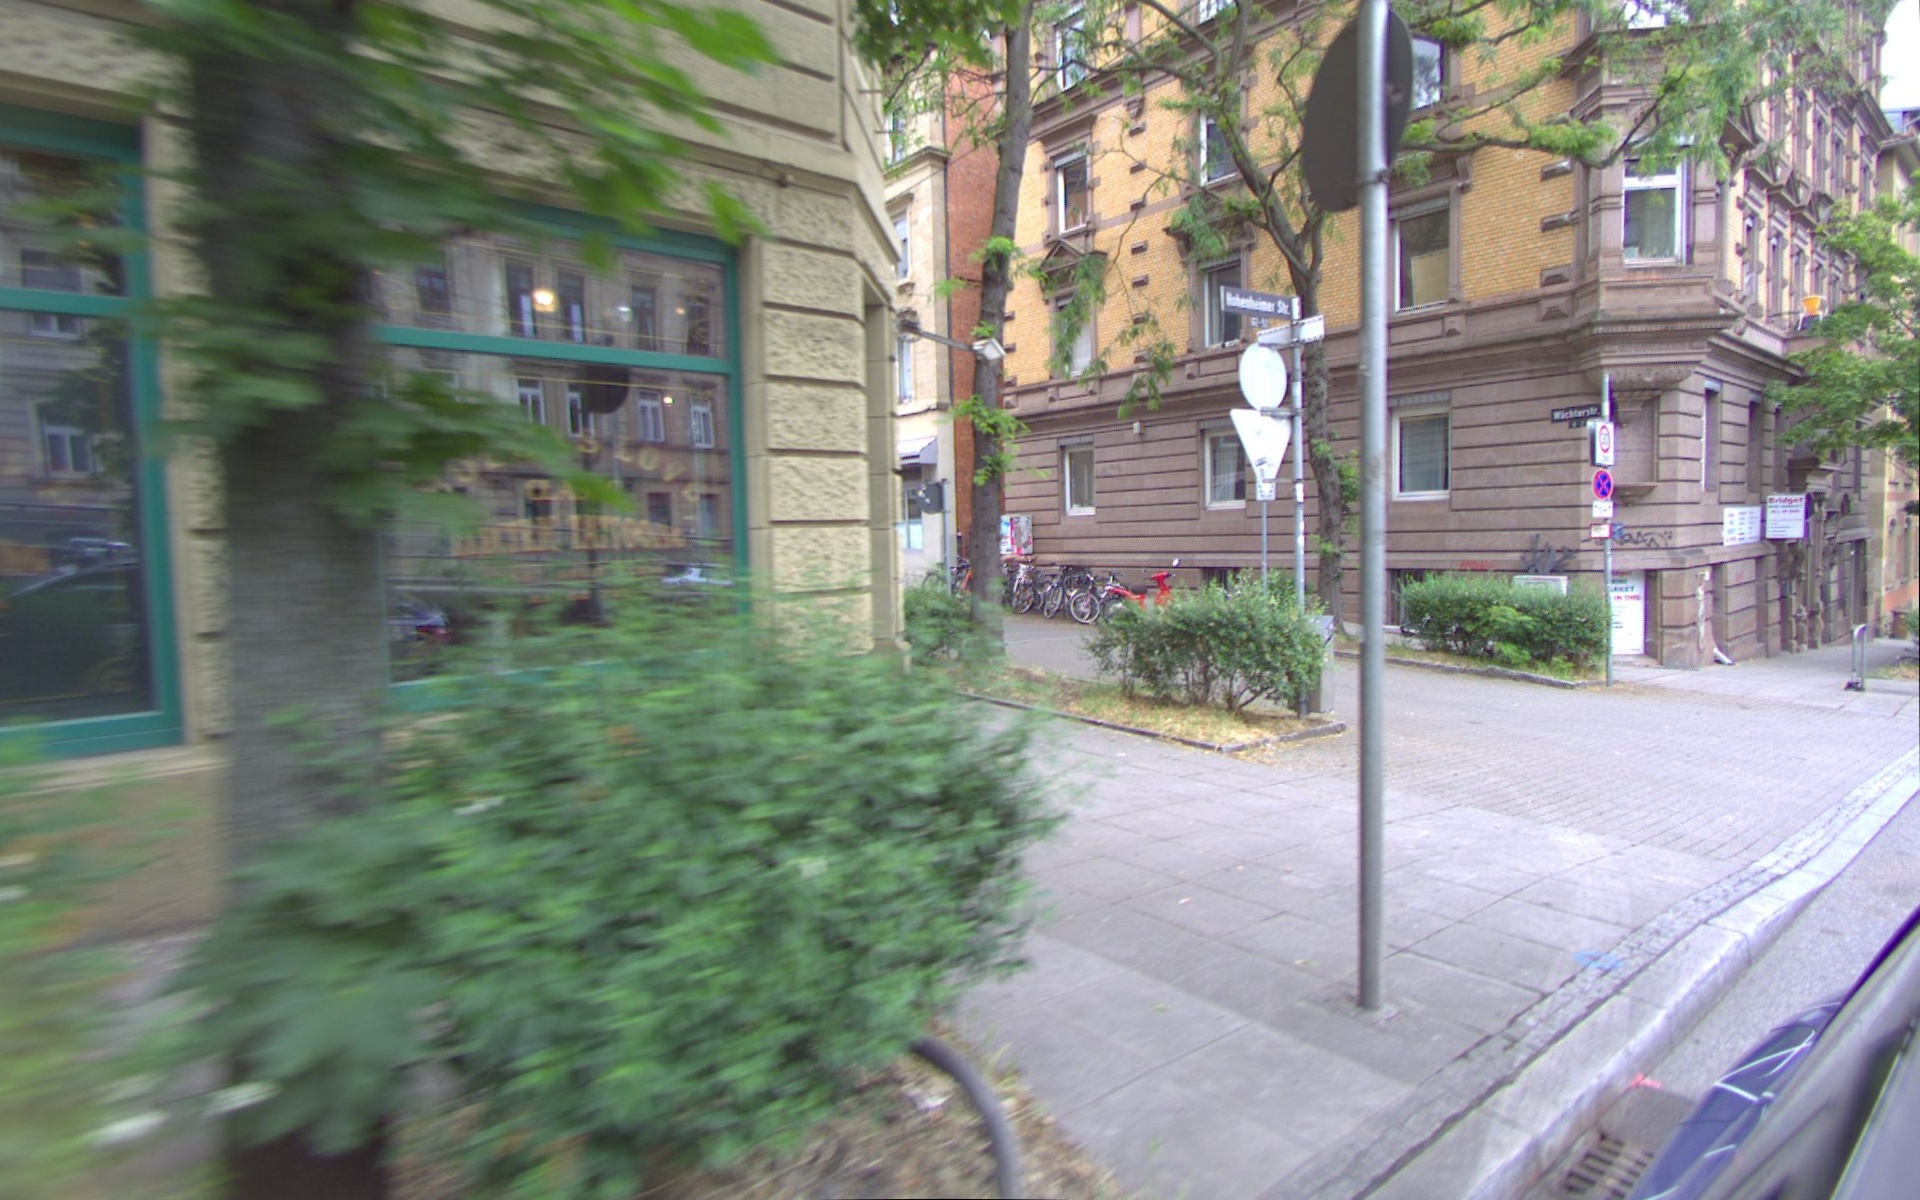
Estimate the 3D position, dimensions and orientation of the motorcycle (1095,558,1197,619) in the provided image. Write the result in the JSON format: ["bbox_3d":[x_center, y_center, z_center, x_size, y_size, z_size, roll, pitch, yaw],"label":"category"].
[{"bbox_3d":[3.571,-0.232,19.431,1.881,1.112,0.510,-1,5,-16],"label":"motorcycle"}]

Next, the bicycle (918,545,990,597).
[{"bbox_3d":[-0.124,-0.702,23.858,0.588,1.111,1.894,5,7,40],"label":"bicycle"}]

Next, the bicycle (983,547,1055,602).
[{"bbox_3d":[1.343,-0.599,22.716,0.591,1.111,1.895,5,7,39],"label":"bicycle"}]

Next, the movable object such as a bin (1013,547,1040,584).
[{"bbox_3d":[1.714,-0.887,25.946,0.428,0.896,0.562,3,9,38],"label":"movable object such as a bin"}]

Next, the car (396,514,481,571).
[{"bbox_3d":[-16.603,-1.865,32.161,1.647,1.596,3.434,-3,7,-40],"label":"car"}]

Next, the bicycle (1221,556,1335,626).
[{"bbox_3d":[5.435,-0.170,17.305,1.881,1.112,0.510,-1,5,-19],"label":"bicycle"}]

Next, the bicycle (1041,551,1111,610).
[{"bbox_3d":[2.476,-0.432,21.463,0.506,1.111,1.895,5,7,39],"label":"bicycle"}]

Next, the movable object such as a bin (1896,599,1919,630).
[{"bbox_3d":[29.958,0.456,31.813,0.529,0.954,0.673,0,2,-37],"label":"movable object such as a bin"}]

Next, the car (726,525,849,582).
[{"bbox_3d":[-5.070,-1.404,29.315,1.614,1.422,4.280,-3,7,-39],"label":"car"}]

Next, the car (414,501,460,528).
[{"bbox_3d":[-31.111,-5.103,60.177,1.614,1.527,3.870,-3,6,-39],"label":"car"}]

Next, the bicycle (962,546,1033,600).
[{"bbox_3d":[0.871,-0.631,23.099,0.563,1.111,1.895,5,7,39],"label":"bicycle"}]

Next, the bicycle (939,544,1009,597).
[{"bbox_3d":[0.344,-0.705,23.459,0.563,1.111,1.895,5,7,39],"label":"bicycle"}]

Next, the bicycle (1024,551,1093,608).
[{"bbox_3d":[2.161,-0.462,21.980,0.506,1.111,1.895,5,7,39],"label":"bicycle"}]

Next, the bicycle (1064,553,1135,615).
[{"bbox_3d":[2.862,-0.350,20.632,0.506,1.111,1.895,5,7,39],"label":"bicycle"}]

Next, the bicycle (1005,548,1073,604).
[{"bbox_3d":[1.763,-0.549,22.331,0.506,1.111,1.895,5,7,39],"label":"bicycle"}]
